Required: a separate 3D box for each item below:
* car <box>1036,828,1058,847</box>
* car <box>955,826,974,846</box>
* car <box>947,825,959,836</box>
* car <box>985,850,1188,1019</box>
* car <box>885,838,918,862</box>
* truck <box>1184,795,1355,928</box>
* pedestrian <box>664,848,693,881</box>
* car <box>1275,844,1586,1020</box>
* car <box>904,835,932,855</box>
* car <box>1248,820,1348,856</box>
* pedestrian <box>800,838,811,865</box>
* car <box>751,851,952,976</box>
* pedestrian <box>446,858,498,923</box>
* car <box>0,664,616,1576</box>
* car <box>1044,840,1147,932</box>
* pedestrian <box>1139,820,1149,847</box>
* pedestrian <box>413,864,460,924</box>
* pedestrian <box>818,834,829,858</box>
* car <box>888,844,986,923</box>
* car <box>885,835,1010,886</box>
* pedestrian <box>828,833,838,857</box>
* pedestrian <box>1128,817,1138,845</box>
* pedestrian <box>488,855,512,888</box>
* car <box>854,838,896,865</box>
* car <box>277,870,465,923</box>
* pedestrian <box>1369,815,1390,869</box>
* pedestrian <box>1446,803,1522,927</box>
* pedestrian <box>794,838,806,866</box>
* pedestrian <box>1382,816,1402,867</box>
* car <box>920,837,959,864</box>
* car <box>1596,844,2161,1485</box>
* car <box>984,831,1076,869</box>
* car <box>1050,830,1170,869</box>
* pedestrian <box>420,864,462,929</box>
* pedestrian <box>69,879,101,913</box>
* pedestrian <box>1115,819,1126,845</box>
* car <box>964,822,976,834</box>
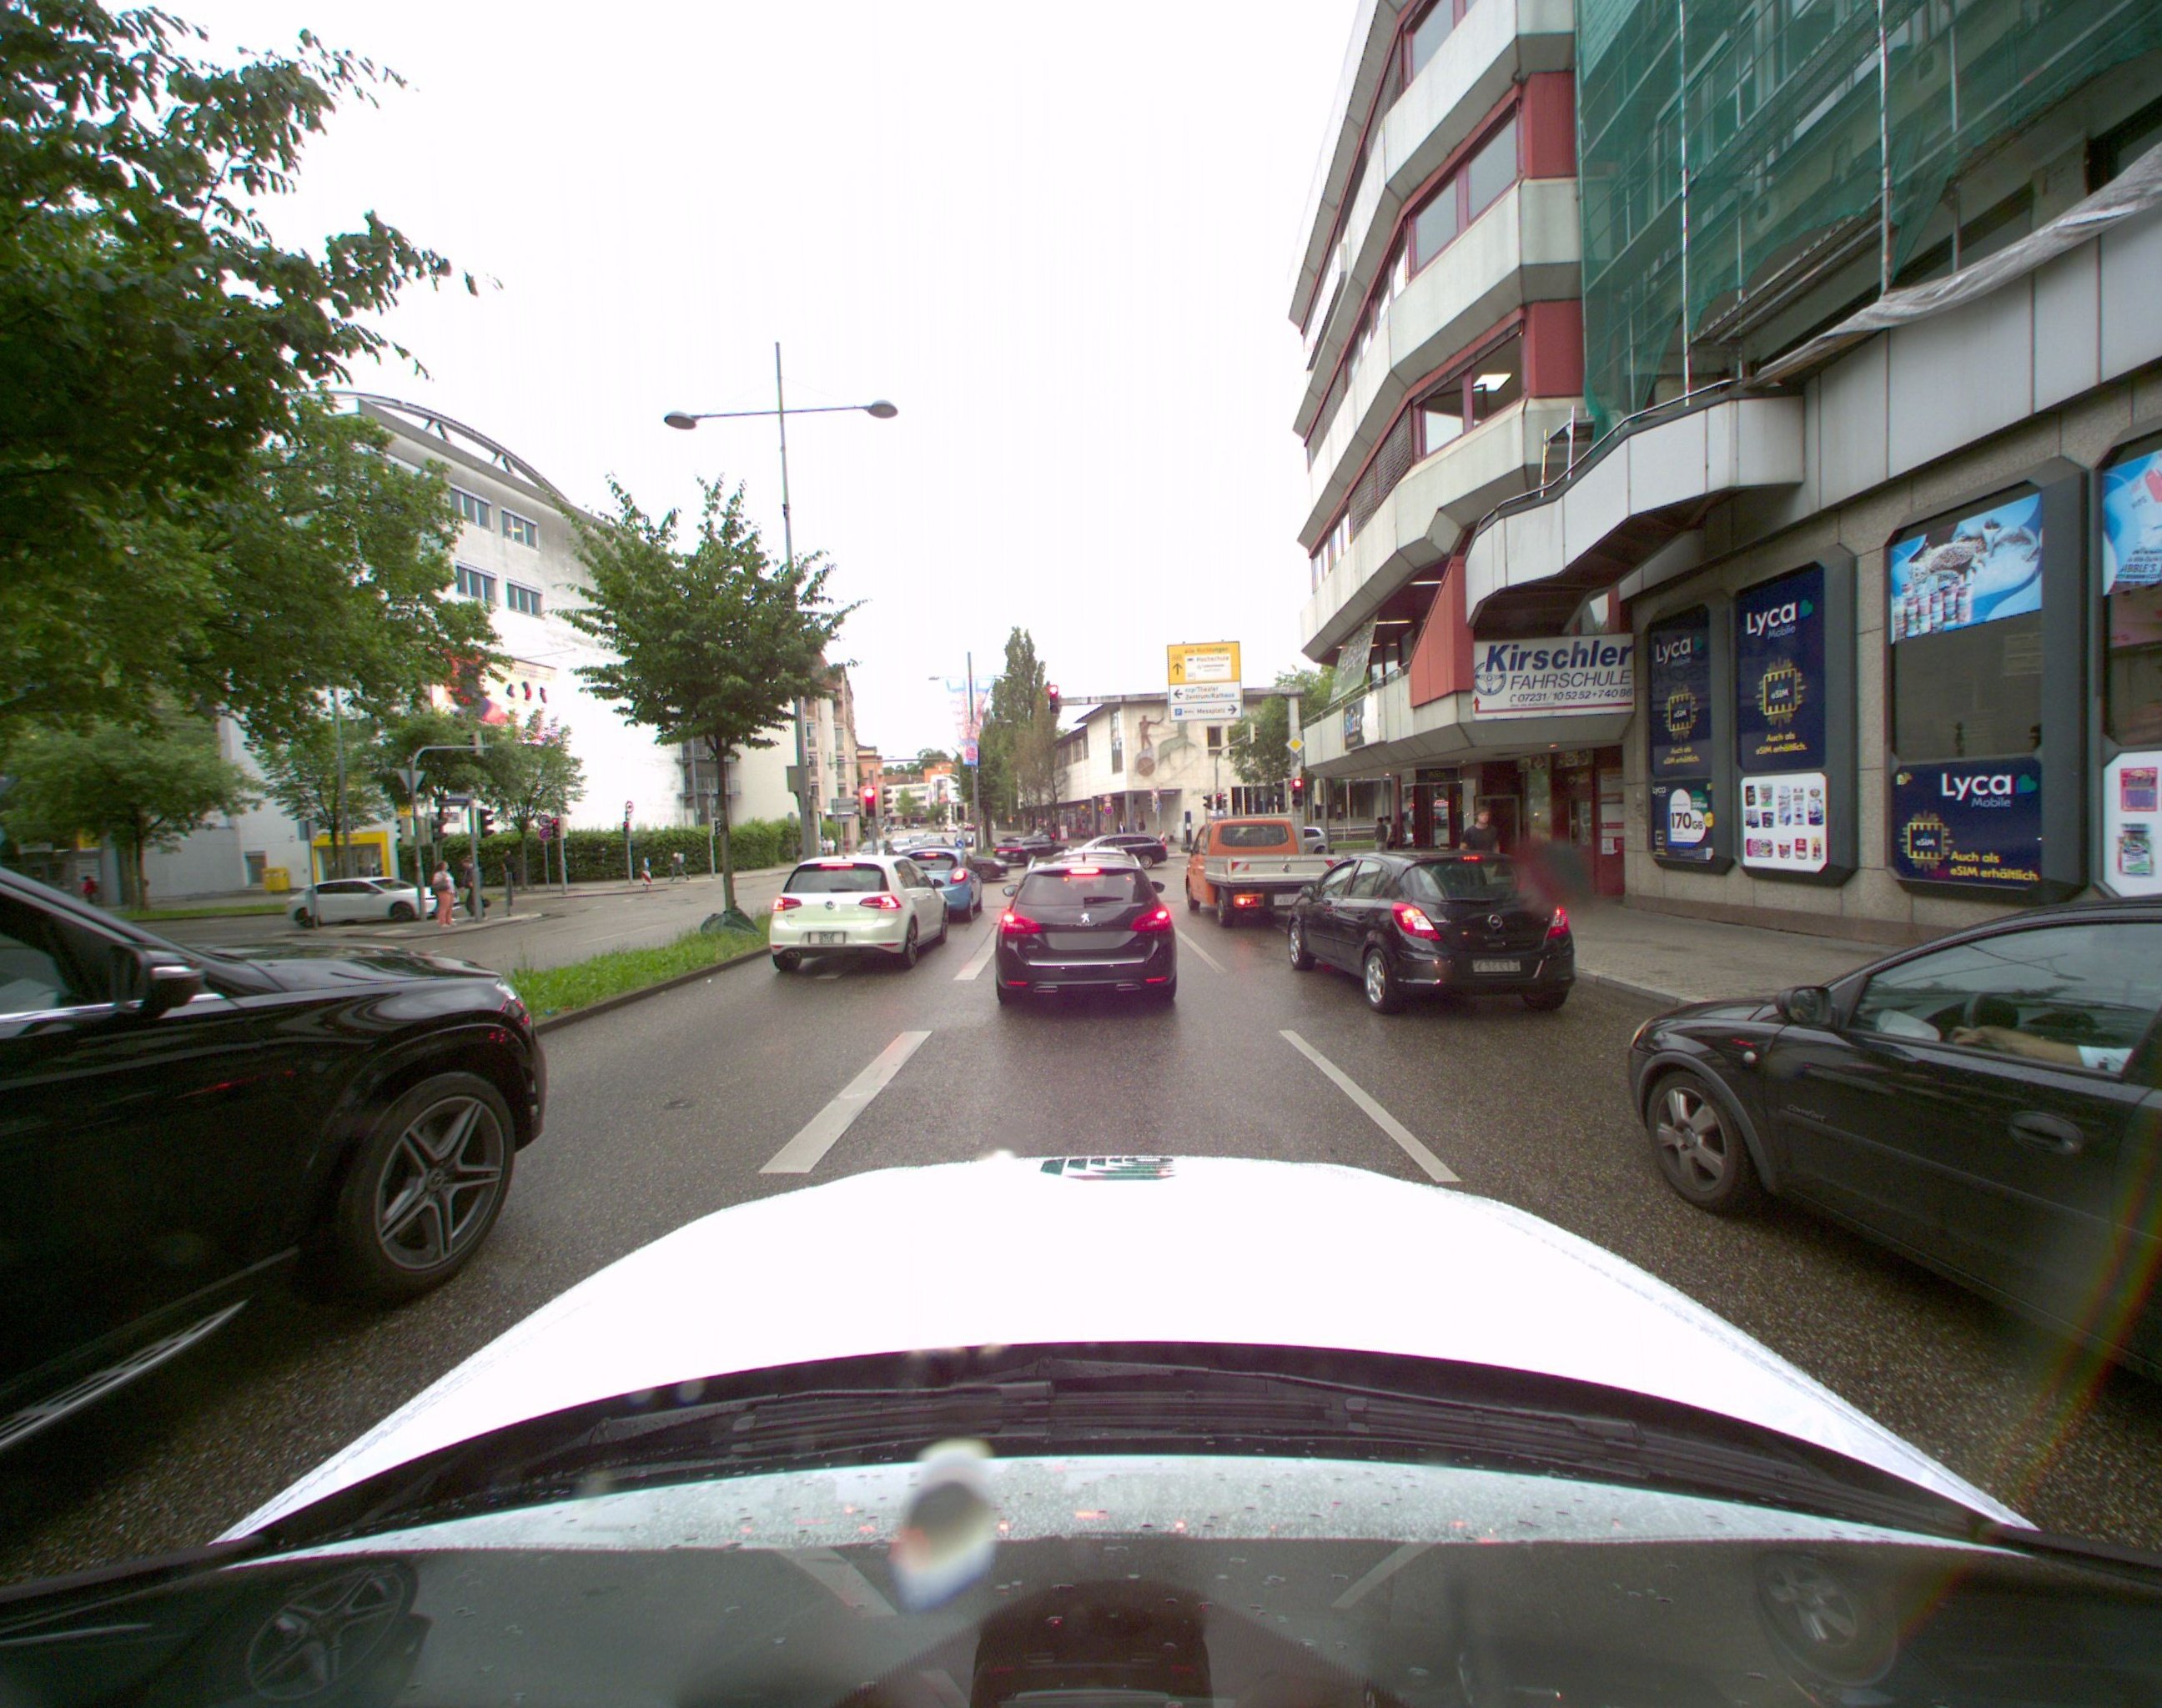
[{"bbox_3d":[-3.043,-1.436,72.238,1.722,1.490,4.725,-1,-1,-4],"label":"car"},{"bbox_3d":[-10.945,-1.677,76.331,1.743,1.640,3.988,-1,-1,-9],"label":"car"},{"bbox_3d":[-23.037,-4.189,146.857,1.709,1.882,3.979,0,-1,-15],"label":"car"},{"bbox_3d":[0.054,0.703,9.093,1.772,1.429,3.842,-1,1,0],"label":"car"},{"bbox_3d":[-12.087,-0.298,55.068,1.630,1.486,3.604,-1,1,-4],"label":"car"},{"bbox_3d":[3.432,0.061,15.931,2.170,2.172,5.020,-1,1,0],"label":"truck"},{"bbox_3d":[-19.936,0.530,40.343,1.059,1.578,0.683,-1,-1,-3],"label":"pedestrian"},{"bbox_3d":[3.371,0.621,8.688,1.611,1.429,3.840,-1,1,-1],"label":"car"},{"bbox_3d":[-12.259,-0.694,61.432,1.630,1.486,3.604,-1,1,-4],"label":"car"},{"bbox_3d":[9.457,-0.674,35.534,3.896,1.486,1.617,-1,-1,-11],"label":"car"},{"bbox_3d":[-17.673,-0.155,52.228,0.538,1.748,0.564,-1,-1,-3],"label":"pedestrian"},{"bbox_3d":[-3.040,0.708,11.656,1.772,1.429,3.841,-1,1,0],"label":"car"},{"bbox_3d":[-17.075,1.000,22.850,0.921,1.784,0.708,-1,-1,-4],"label":"pedestrian"},{"bbox_3d":[-3.180,0.548,1.298,1.905,1.870,5.073,-1,-1,1],"label":"car"},{"bbox_3d":[0.302,0.504,15.406,1.690,1.486,3.795,-1,1,2],"label":"car"},{"bbox_3d":[4.410,-1.430,57.252,0.633,1.897,0.735,-1,-1,8],"label":"pedestrian"},{"bbox_3d":[-18.580,1.145,23.486,0.750,1.661,0.628,-2,2,1],"label":"pedestrian"},{"bbox_3d":[-19.031,-0.582,60.205,0.595,1.728,0.655,-1,-1,-7],"label":"pedestrian"},{"bbox_3d":[-3.022,0.553,17.683,1.629,1.486,3.606,-1,1,-3],"label":"car"},{"bbox_3d":[-4.731,0.220,29.138,4.226,1.565,1.699,-3,1,-9],"label":"car"},{"bbox_3d":[-18.447,-0.651,60.665,0.595,1.728,0.655,-1,-1,-7],"label":"pedestrian"},{"bbox_3d":[3.633,-1.618,57.231,0.633,1.897,0.735,-1,-1,8],"label":"pedestrian"},{"bbox_3d":[-28.988,0.884,40.631,0.730,1.643,0.638,-1,-1,-6],"label":"pedestrian"},{"bbox_3d":[-11.925,-0.178,47.378,1.569,1.486,3.608,-1,1,-1],"label":"car"},{"bbox_3d":[-22.741,1.339,26.235,4.290,1.486,1.634,-1,1,-8],"label":"car"},{"bbox_3d":[9.604,-0.383,26.201,0.424,1.682,0.450,-3,-1,0],"label":"pedestrian"},{"bbox_3d":[6.248,0.171,12.657,0.736,1.816,0.776,-6,-1,13],"label":"pedestrian"},{"bbox_3d":[-17.484,-0.117,50.602,0.538,1.748,0.745,-1,-1,-7],"label":"pedestrian"},{"bbox_3d":[10.127,-0.401,26.530,0.395,1.640,0.504,-3,-1,2],"label":"pedestrian"},{"bbox_3d":[-8.609,-0.188,49.759,1.739,1.579,3.997,-1,-1,-1],"label":"car"},{"bbox_3d":[3.271,0.704,2.218,1.600,1.429,3.626,-1,1,3],"label":"car"},{"bbox_3d":[-2.414,-0.215,39.491,1.770,1.454,4.536,-2,3,39],"label":"car"},{"bbox_3d":[1.157,-0.217,33.548,4.720,1.486,1.633,-1,1,-9],"label":"car"},{"bbox_3d":[-17.001,1.129,21.655,0.555,1.661,0.580,-2,2,2],"label":"pedestrian"},{"bbox_3d":[-48.469,2.050,39.627,0.633,1.643,0.735,-1,-1,8],"label":"pedestrian"},{"bbox_3d":[2.703,-1.483,56.024,0.633,1.758,0.735,-1,-1,8],"label":"pedestrian"},{"bbox_3d":[-20.238,-4.745,148.027,1.709,1.936,3.979,0,-1,-15],"label":"car"}]
